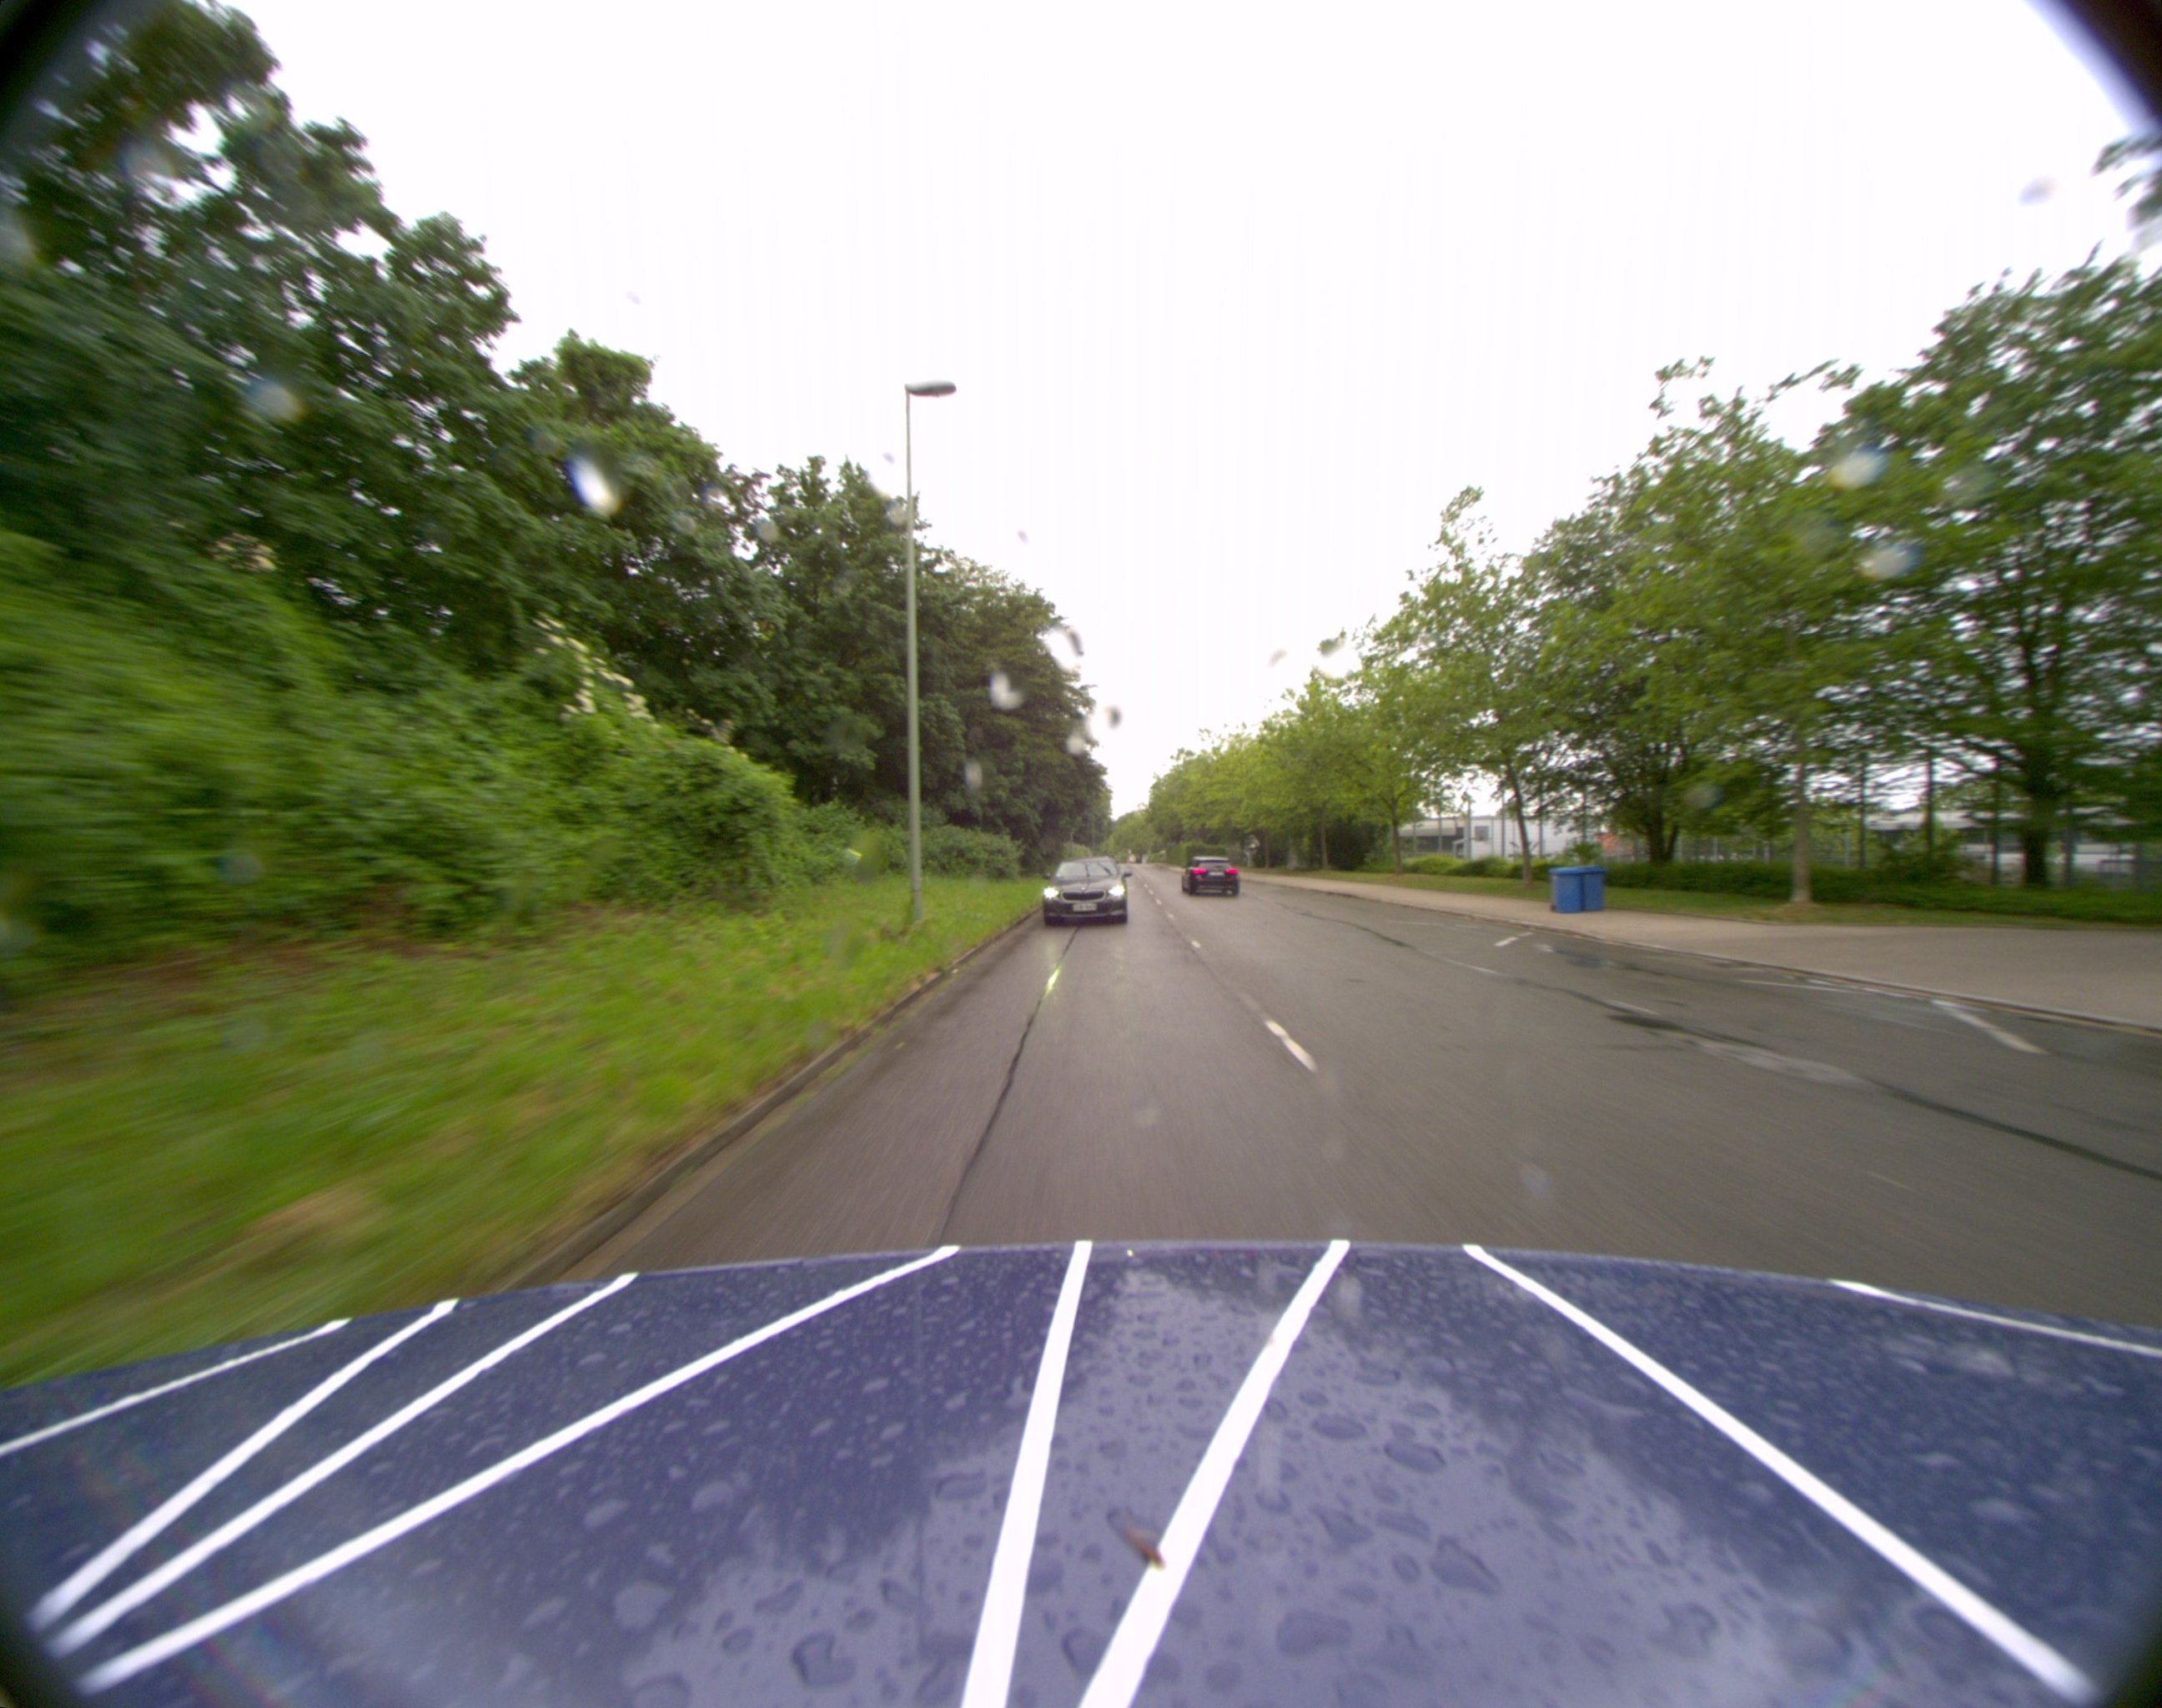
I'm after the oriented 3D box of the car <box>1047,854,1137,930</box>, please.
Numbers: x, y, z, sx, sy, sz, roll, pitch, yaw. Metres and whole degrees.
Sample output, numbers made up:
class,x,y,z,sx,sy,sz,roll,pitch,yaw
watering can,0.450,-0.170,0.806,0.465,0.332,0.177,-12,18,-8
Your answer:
class,x,y,z,sx,sy,sz,roll,pitch,yaw
car,0.227,0.799,18.320,1.832,1.499,4.497,-3,0,0

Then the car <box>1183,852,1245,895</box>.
class,x,y,z,sx,sy,sz,roll,pitch,yaw
car,4.890,0.665,28.486,1.830,1.456,4.000,0,1,3

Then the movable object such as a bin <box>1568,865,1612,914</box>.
class,x,y,z,sx,sy,sz,roll,pitch,yaw
movable object such as a bin,12.057,0.840,18.029,0.567,1.092,0.672,-3,1,4

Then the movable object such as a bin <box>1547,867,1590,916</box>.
class,x,y,z,sx,sy,sz,roll,pitch,yaw
movable object such as a bin,11.440,0.864,17.844,0.567,1.092,0.672,-3,1,4
